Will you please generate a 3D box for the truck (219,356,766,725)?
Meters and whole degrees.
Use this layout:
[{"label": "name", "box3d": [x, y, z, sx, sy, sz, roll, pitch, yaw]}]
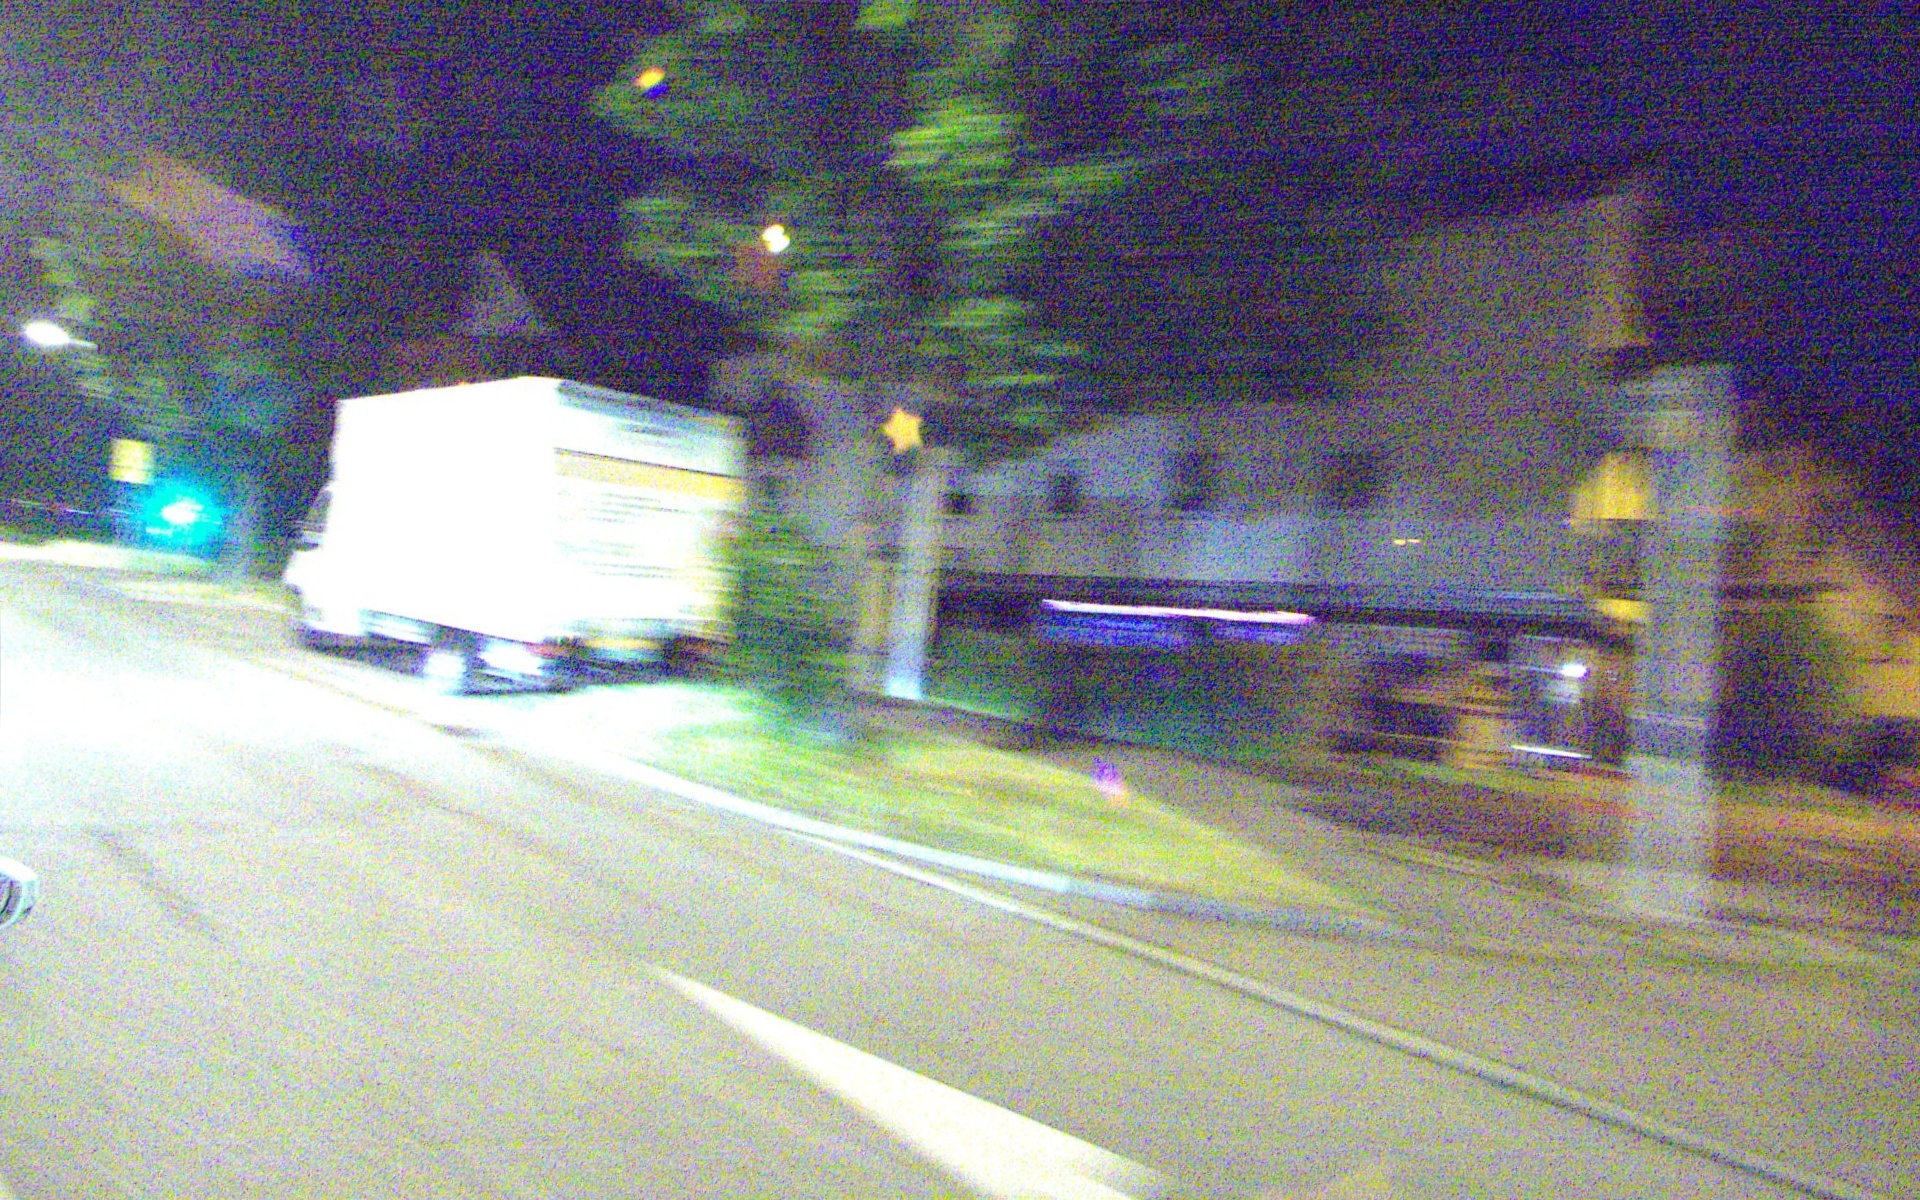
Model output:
[{"label": "truck", "box3d": [-5.706, -0.716, 11.627, 6.931, 3.085, 2.760, 6, 2, 38]}]
